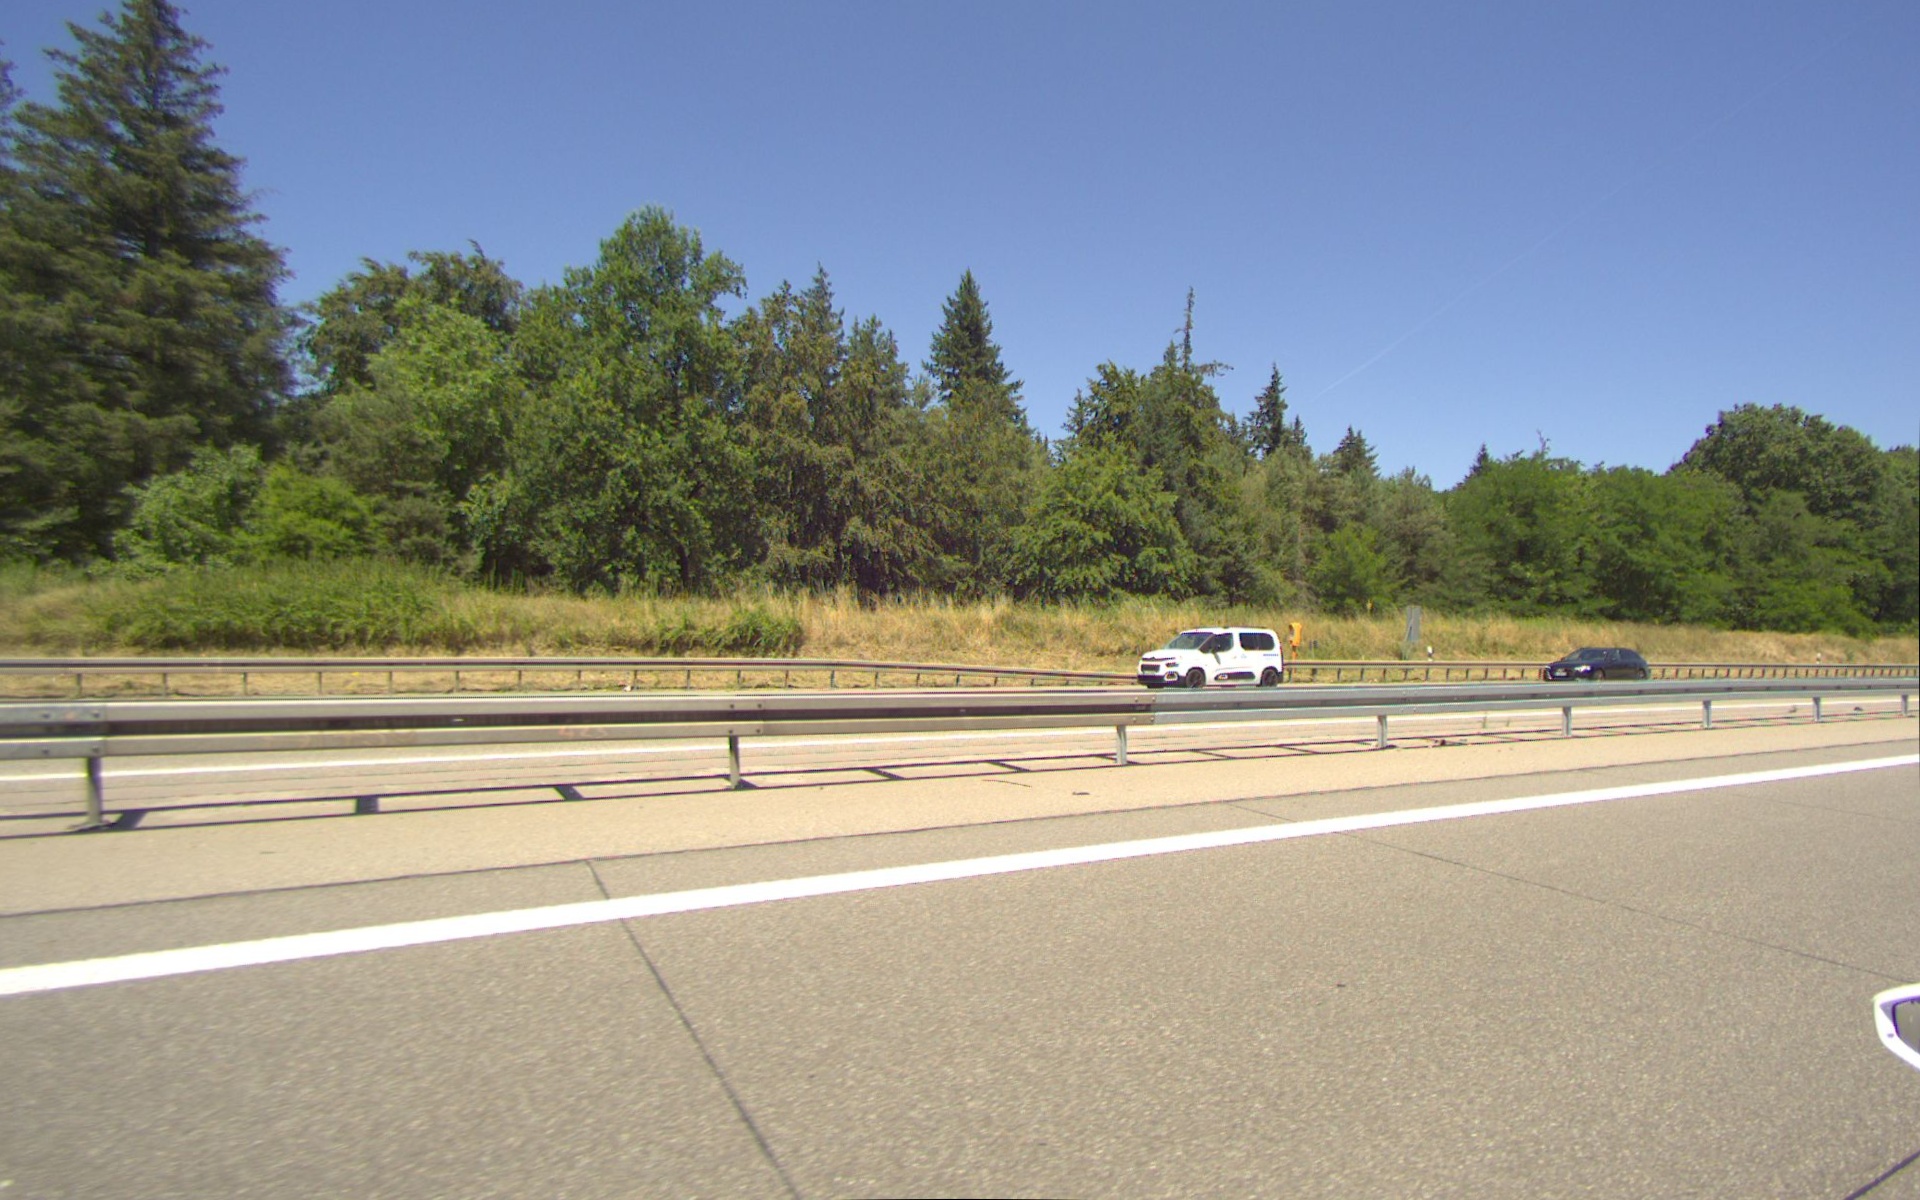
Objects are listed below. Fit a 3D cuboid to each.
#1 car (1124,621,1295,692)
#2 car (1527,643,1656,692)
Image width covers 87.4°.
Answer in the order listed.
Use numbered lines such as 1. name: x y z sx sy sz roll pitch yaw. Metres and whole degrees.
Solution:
1. car: 7.008 1.584 28.125 4.588 1.851 1.985 2 -3 -30
2. car: 23.301 2.462 37.028 4.921 1.726 1.985 2 -3 -30
